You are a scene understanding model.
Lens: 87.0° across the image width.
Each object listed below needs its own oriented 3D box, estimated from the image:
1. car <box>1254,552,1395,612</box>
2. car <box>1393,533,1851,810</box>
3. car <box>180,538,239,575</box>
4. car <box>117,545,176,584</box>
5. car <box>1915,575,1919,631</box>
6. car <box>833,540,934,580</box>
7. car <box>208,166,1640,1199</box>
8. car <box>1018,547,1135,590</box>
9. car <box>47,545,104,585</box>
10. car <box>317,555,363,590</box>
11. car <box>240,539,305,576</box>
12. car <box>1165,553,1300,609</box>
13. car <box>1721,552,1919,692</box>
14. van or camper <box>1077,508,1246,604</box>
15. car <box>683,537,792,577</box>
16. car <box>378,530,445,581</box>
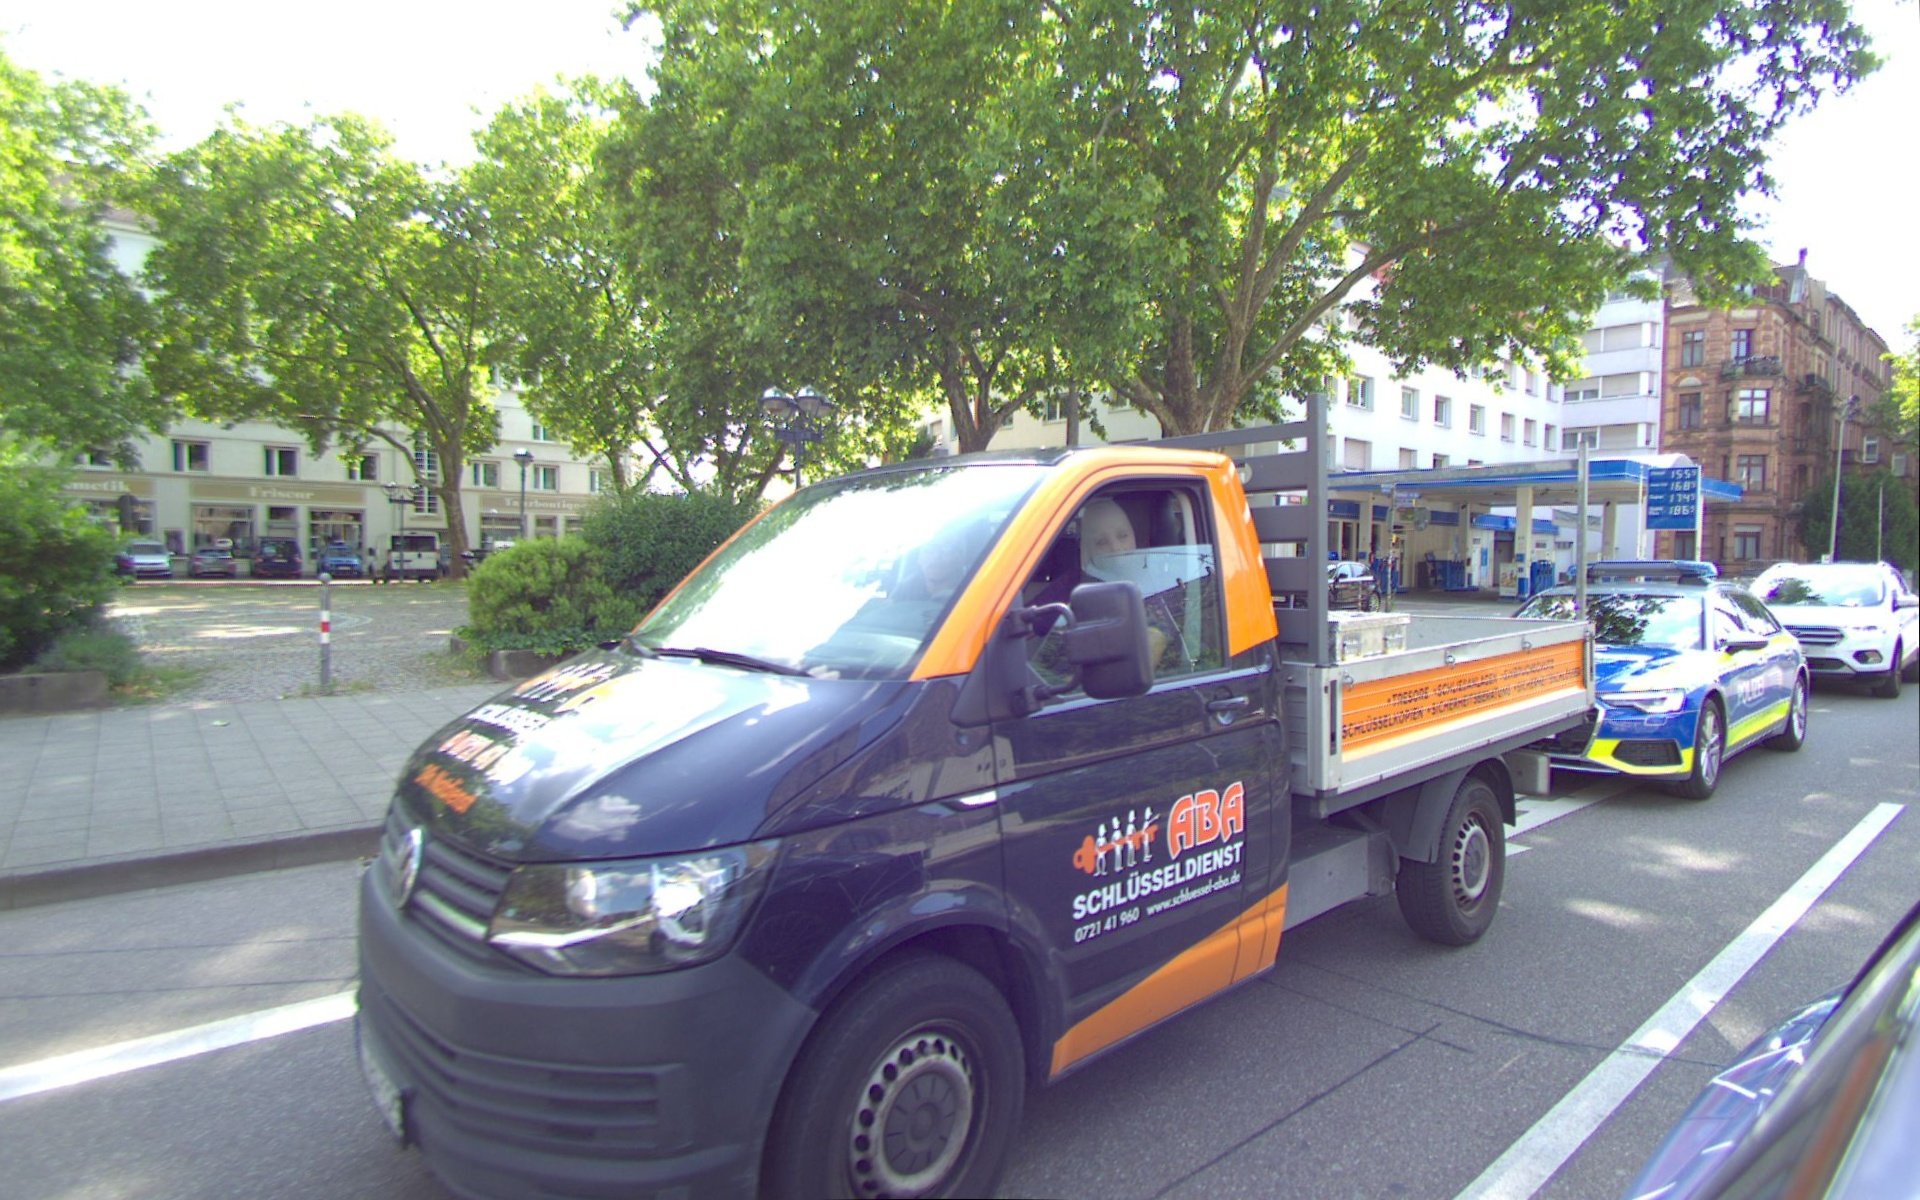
[{"bbox_3d":[9.452,-0.500,26.094,3.932,1.428,1.755,-2,3,-42],"label":"car"},{"bbox_3d":[5.743,0.343,8.464,5.064,1.672,1.870,-2,2,-40],"label":"car"},{"bbox_3d":[-35.238,-2.064,47.485,1.820,1.679,4.076,-2,4,-42],"label":"car"},{"bbox_3d":[-36.957,-1.633,45.961,1.820,1.679,4.076,-2,4,-42],"label":"car"},{"bbox_3d":[22.605,0.051,22.429,3.568,1.203,1.620,-2,4,-39],"label":"car"},{"bbox_3d":[-3.115,-1.628,41.449,3.932,1.539,1.661,-2,1,-42],"label":"car"},{"bbox_3d":[0.527,0.279,3.838,5.244,2.010,2.079,-4,5,-41],"label":"car"},{"bbox_3d":[3.768,-1.000,32.293,3.932,1.310,1.476,-2,1,-42],"label":"car"},{"bbox_3d":[-39.072,-1.571,44.677,1.820,1.679,4.076,-2,4,-42],"label":"car"},{"bbox_3d":[-31.268,-1.356,51.027,1.896,1.688,3.738,-1,1,-33],"label":"car"},{"bbox_3d":[-33.455,-2.089,49.207,2.047,1.679,4.076,-2,4,-42],"label":"car"},{"bbox_3d":[7.601,-0.576,28.100,3.932,1.428,1.755,-2,3,-42],"label":"car"},{"bbox_3d":[12.183,0.200,13.979,4.598,1.627,1.763,-2,1,-41],"label":"car"},{"bbox_3d":[6.161,-1.299,30.593,5.254,2.674,2.107,-2,1,-39],"label":"van or camper"},{"bbox_3d":[-11.242,-2.171,51.396,5.166,1.895,1.995,-2,1,-44],"label":"car"},{"bbox_3d":[-23.506,-1.859,43.301,2.212,2.039,3.935,-1,1,-33],"label":"car"}]
